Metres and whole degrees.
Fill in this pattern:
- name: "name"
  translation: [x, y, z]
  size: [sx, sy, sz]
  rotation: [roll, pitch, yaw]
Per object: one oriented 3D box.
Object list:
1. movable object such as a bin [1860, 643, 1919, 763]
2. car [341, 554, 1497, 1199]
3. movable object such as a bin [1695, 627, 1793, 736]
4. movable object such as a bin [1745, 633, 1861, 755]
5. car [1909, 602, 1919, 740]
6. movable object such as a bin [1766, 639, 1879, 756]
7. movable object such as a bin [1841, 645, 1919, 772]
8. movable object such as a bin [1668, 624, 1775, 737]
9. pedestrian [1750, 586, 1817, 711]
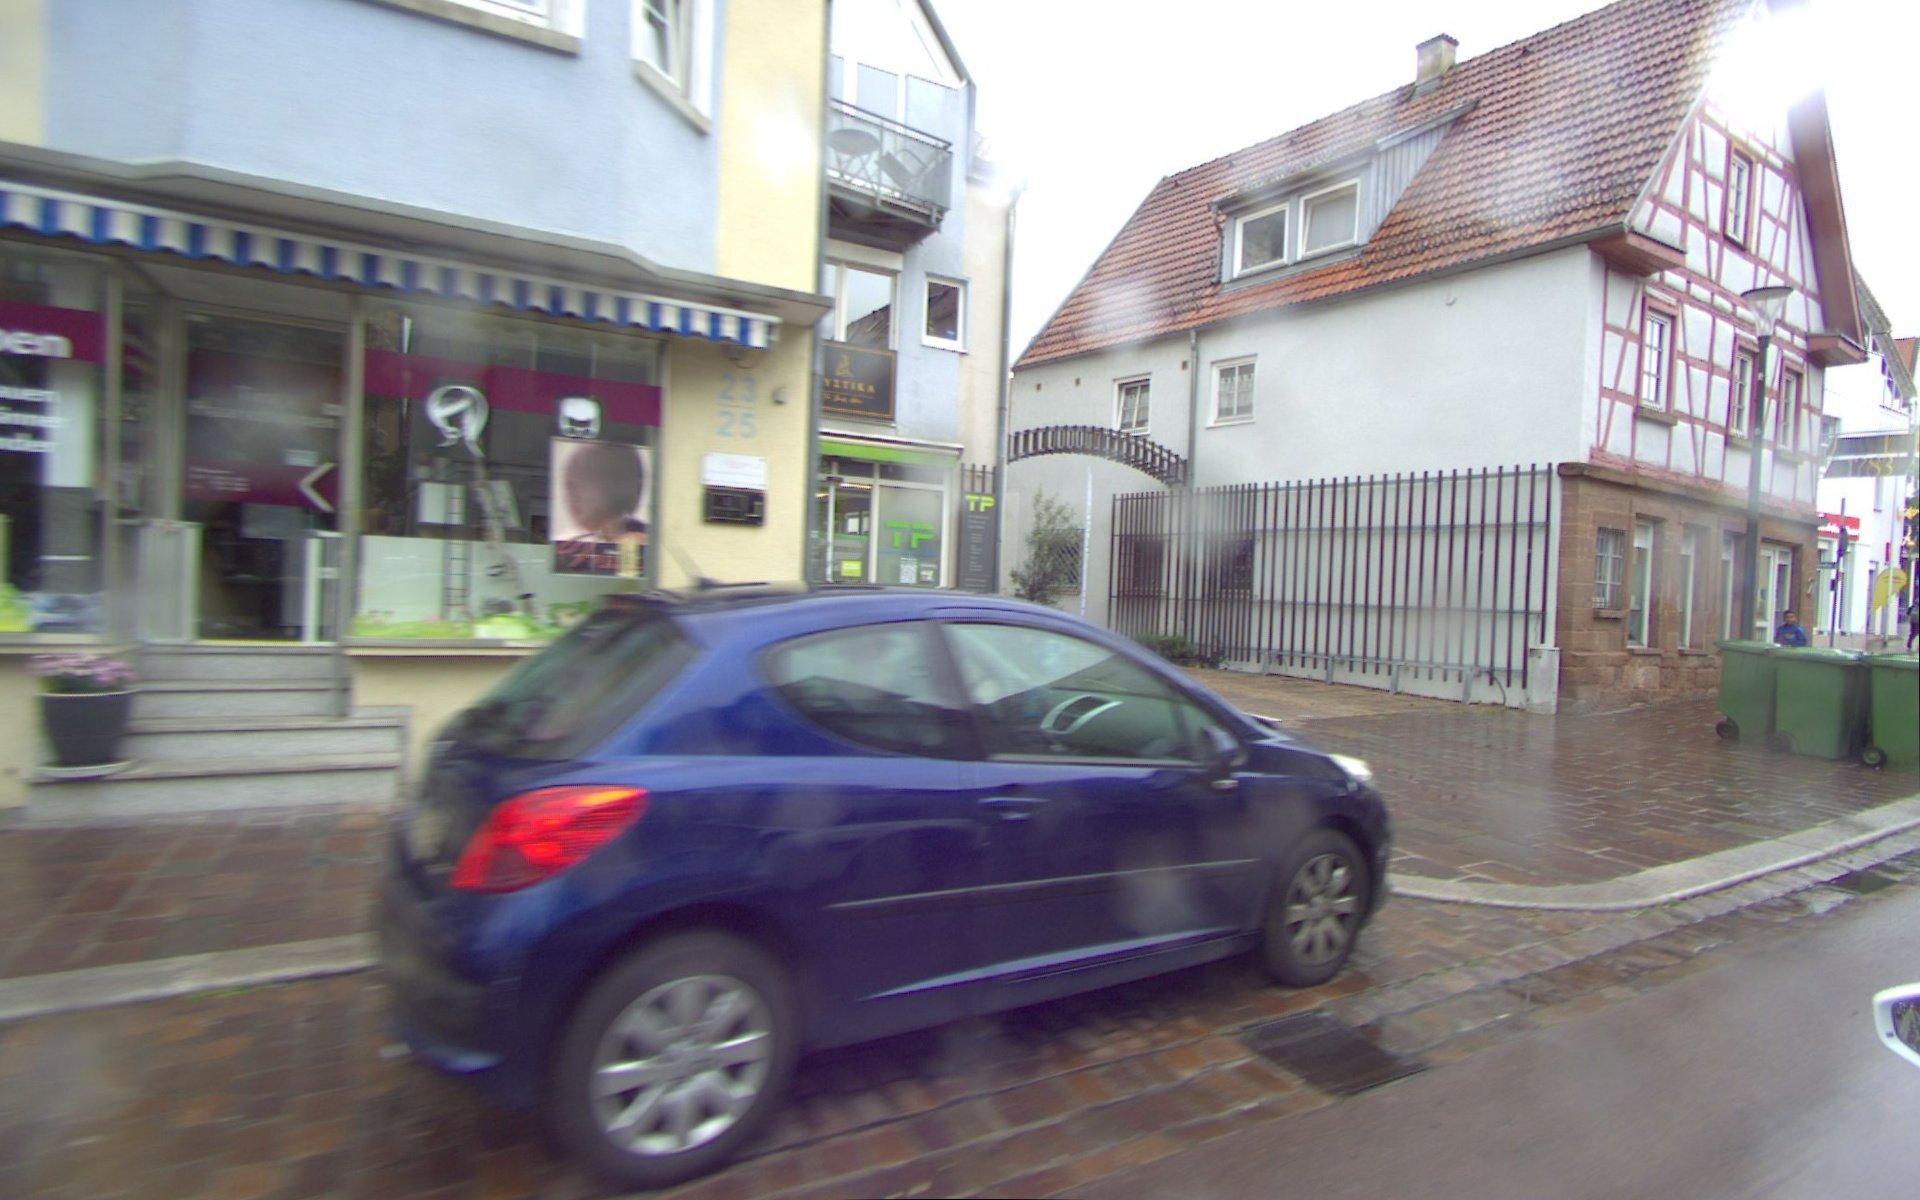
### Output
- name: "movable object such as a bin"
  translation: [9.498, 1.015, 9.928]
  size: [0.638, 1.125, 0.721]
  rotation: [3, 1, -35]
- name: "car"
  translation: [0.055, 0.643, 3.685]
  size: [3.903, 1.494, 1.745]
  rotation: [0, 3, -35]
- name: "movable object such as a bin"
  translation: [8.729, 0.896, 11.186]
  size: [0.610, 1.125, 0.655]
  rotation: [3, 1, -35]
- name: "movable object such as a bin"
  translation: [8.514, 0.927, 10.154]
  size: [0.591, 1.125, 0.721]
  rotation: [3, 1, -35]
- name: "car"
  translation: [12.601, 0.828, 11.715]
  size: [3.968, 1.515, 1.772]
  rotation: [0, 3, -41]
- name: "movable object such as a bin"
  translation: [9.027, 0.998, 10.518]
  size: [0.591, 1.125, 0.721]
  rotation: [3, 1, -35]
- name: "movable object such as a bin"
  translation: [8.975, 1.019, 9.553]
  size: [0.591, 1.125, 0.721]
  rotation: [3, 1, -35]
- name: "movable object such as a bin"
  translation: [8.199, 0.849, 10.824]
  size: [0.591, 1.125, 0.721]
  rotation: [3, 1, -35]
- name: "pedestrian"
  translation: [11.771, 0.687, 14.366]
  size: [0.572, 1.734, 0.515]
  rotation: [2, 1, -34]
